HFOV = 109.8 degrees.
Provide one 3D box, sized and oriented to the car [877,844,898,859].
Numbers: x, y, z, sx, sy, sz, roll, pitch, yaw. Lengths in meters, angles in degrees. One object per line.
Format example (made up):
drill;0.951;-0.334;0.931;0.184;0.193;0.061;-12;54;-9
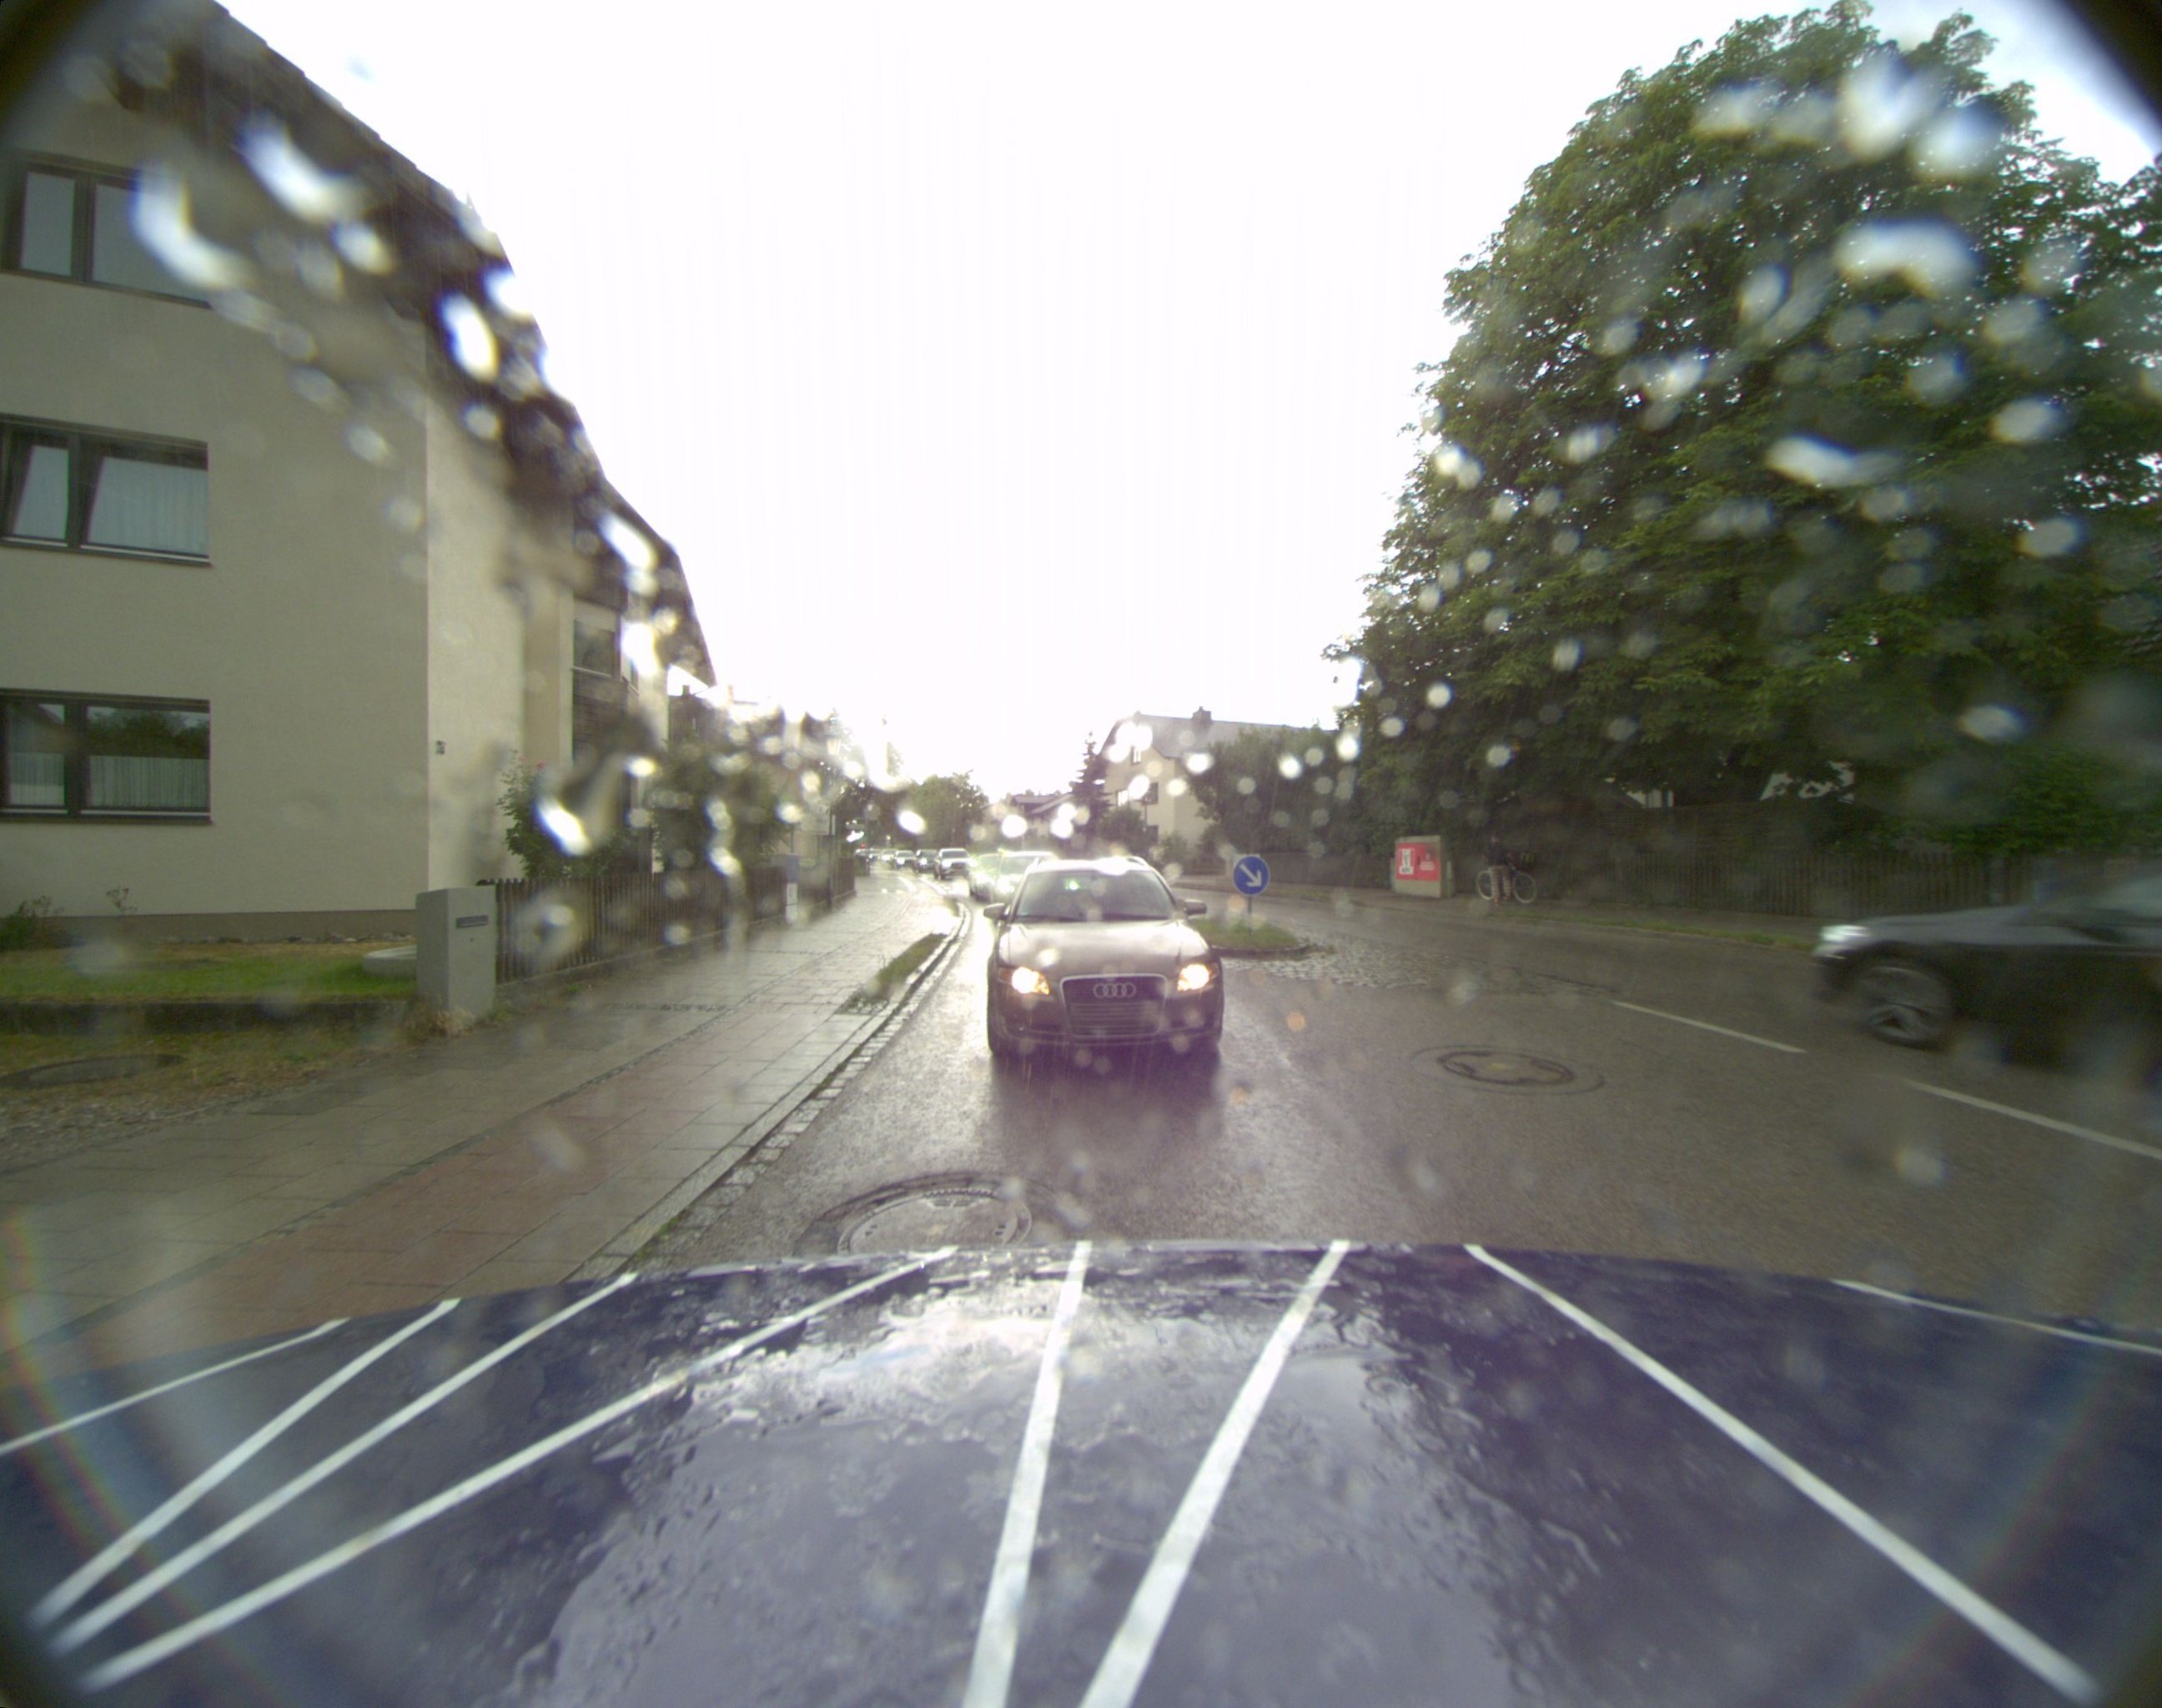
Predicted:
car;-21.440;-0.222;83.973;1.796;1.539;4.274;-3;1;-19

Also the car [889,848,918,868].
car;-14.804;0.343;63.211;1.797;1.539;4.274;-3;1;-20

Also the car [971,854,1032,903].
car;-2.711;0.730;25.124;1.795;1.387;4.277;-2;1;-8

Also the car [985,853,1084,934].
car;-1.247;0.766;17.544;1.795;1.470;5.381;-2;1;-8

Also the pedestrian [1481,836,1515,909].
pedestrian;9.347;0.406;17.021;0.652;1.619;0.480;0;1;30

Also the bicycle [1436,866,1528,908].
bicycle;9.520;0.764;18.114;0.665;0.897;1.870;-2;1;-31

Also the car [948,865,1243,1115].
car;0.042;0.879;6.887;1.794;1.387;4.280;-2;1;-2

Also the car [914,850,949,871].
car;-10.696;0.434;54.051;1.796;1.365;4.274;-3;1;-19

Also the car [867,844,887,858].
car;-25.049;-0.333;93.168;1.797;1.539;4.273;-3;1;-23

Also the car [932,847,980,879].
car;-6.851;0.471;41.181;1.796;1.539;4.274;-3;1;-19

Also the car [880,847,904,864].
car;-18.620;0.167;74.653;1.797;1.539;4.274;-3;1;-20

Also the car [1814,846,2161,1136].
car;6.548;0.708;3.702;1.817;1.482;4.056;-1;0;-7
